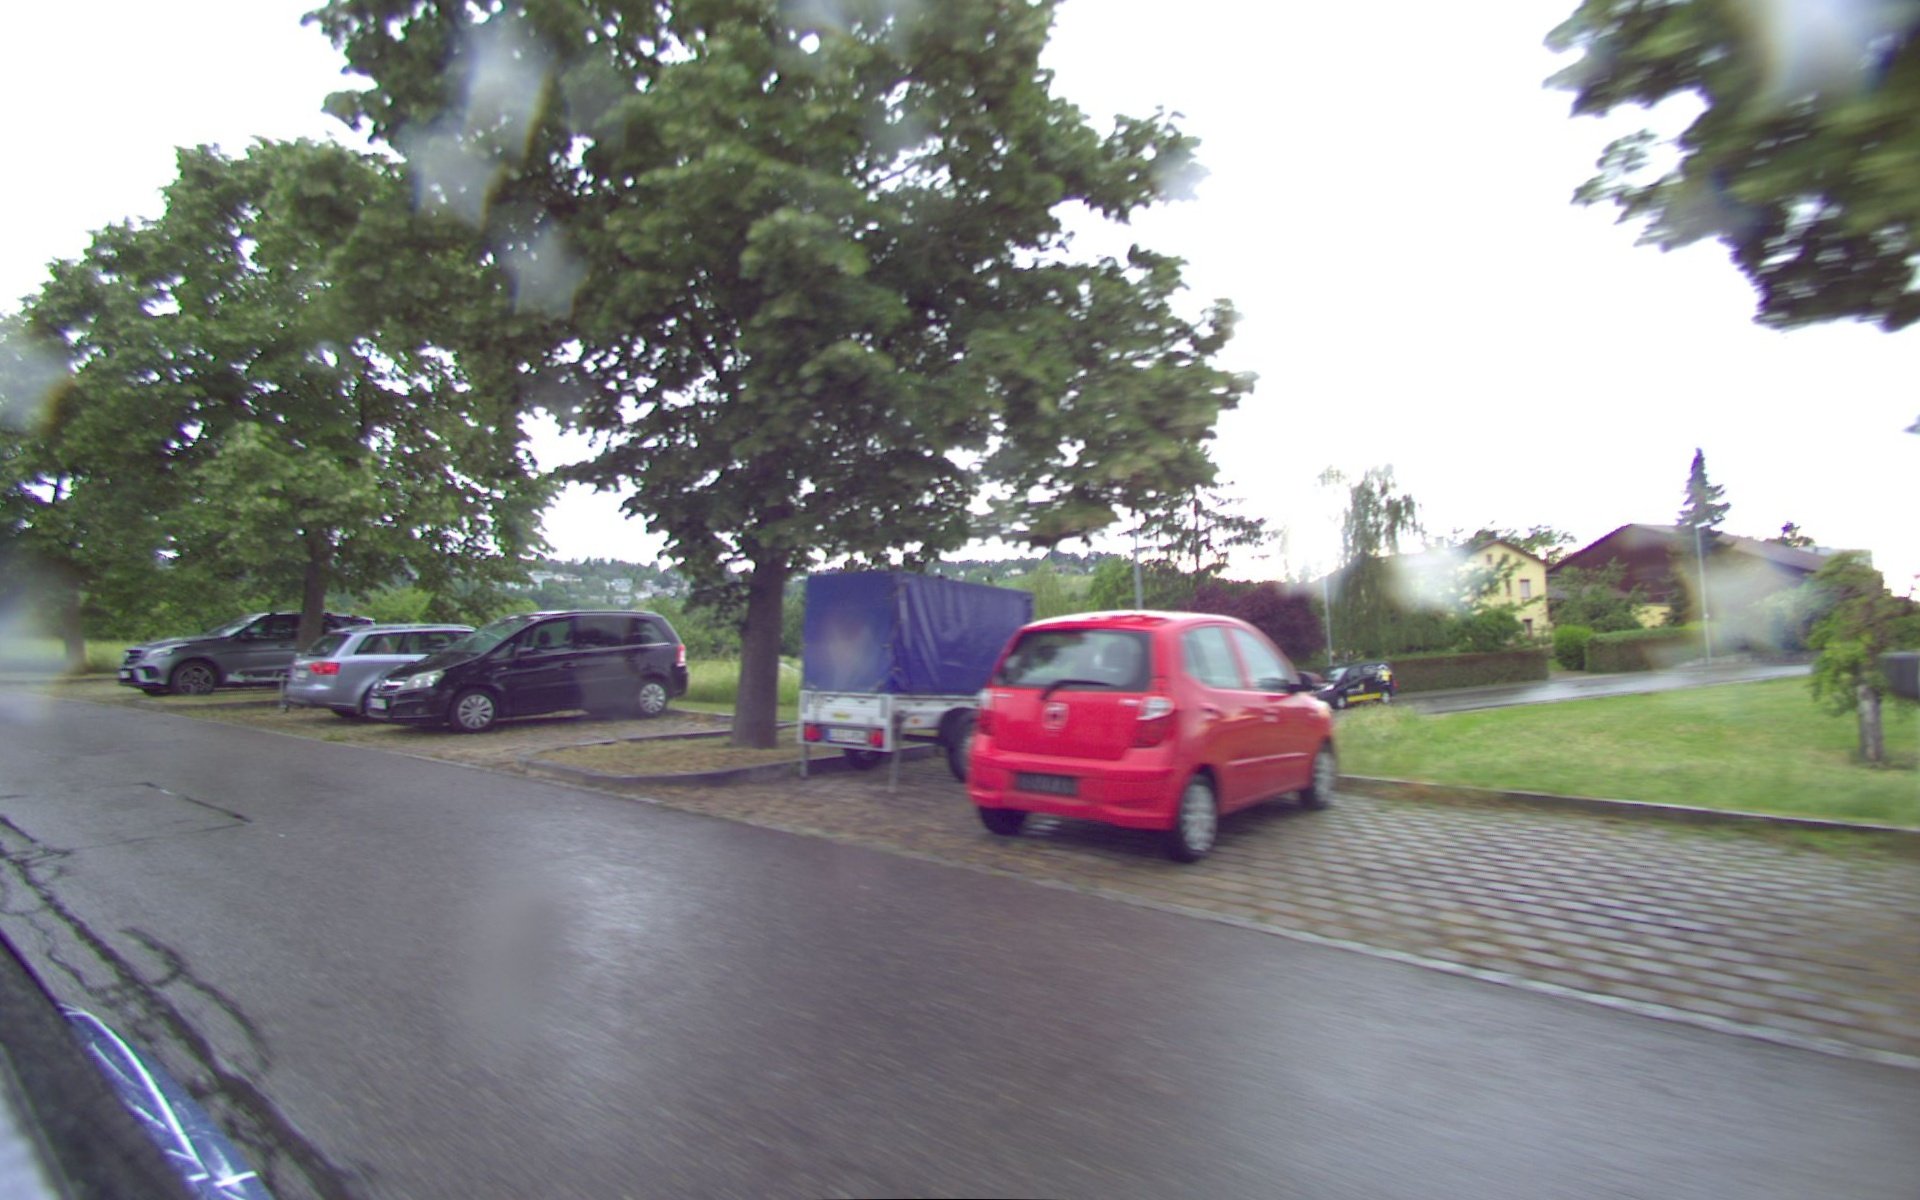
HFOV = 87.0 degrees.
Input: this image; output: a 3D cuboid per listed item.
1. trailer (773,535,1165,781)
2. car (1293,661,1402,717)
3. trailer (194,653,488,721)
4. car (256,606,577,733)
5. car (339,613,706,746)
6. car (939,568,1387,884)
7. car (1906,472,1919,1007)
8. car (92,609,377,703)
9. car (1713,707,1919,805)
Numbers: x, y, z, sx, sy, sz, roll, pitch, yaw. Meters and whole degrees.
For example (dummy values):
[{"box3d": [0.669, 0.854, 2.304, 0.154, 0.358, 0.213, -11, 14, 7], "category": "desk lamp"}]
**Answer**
[{"box3d": [0.297, 0.571, 10.418, 1.773, 1.999, 4.169, -1, -3, 40], "category": "trailer"}, {"box3d": [16.638, 3.833, 43.449, 4.425, 2.237, 1.936, 4, -5, -28], "category": "car"}, {"box3d": [-10.591, 1.435, 17.541, 1.997, 0.968, 3.903, -2, -3, 38], "category": "trailer"}, {"box3d": [-8.448, 0.974, 15.990, 2.025, 1.735, 4.031, -1, -1, 41], "category": "car"}, {"box3d": [-6.107, 0.999, 14.622, 1.805, 1.602, 4.570, -1, -1, 40], "category": "car"}, {"box3d": [1.817, 0.791, 7.775, 1.752, 1.735, 4.156, -1, -3, 37], "category": "car"}, {"box3d": [5.598, 0.576, 4.480, 4.250, 1.920, 1.863, 4, -3, -44], "category": "car"}, {"box3d": [-14.804, 1.131, 20.893, 2.041, 1.735, 4.328, -1, -3, 36], "category": "car"}, {"box3d": [16.445, 2.829, 18.729, 1.536, 1.458, 3.718, 2, -3, -23], "category": "car"}]
